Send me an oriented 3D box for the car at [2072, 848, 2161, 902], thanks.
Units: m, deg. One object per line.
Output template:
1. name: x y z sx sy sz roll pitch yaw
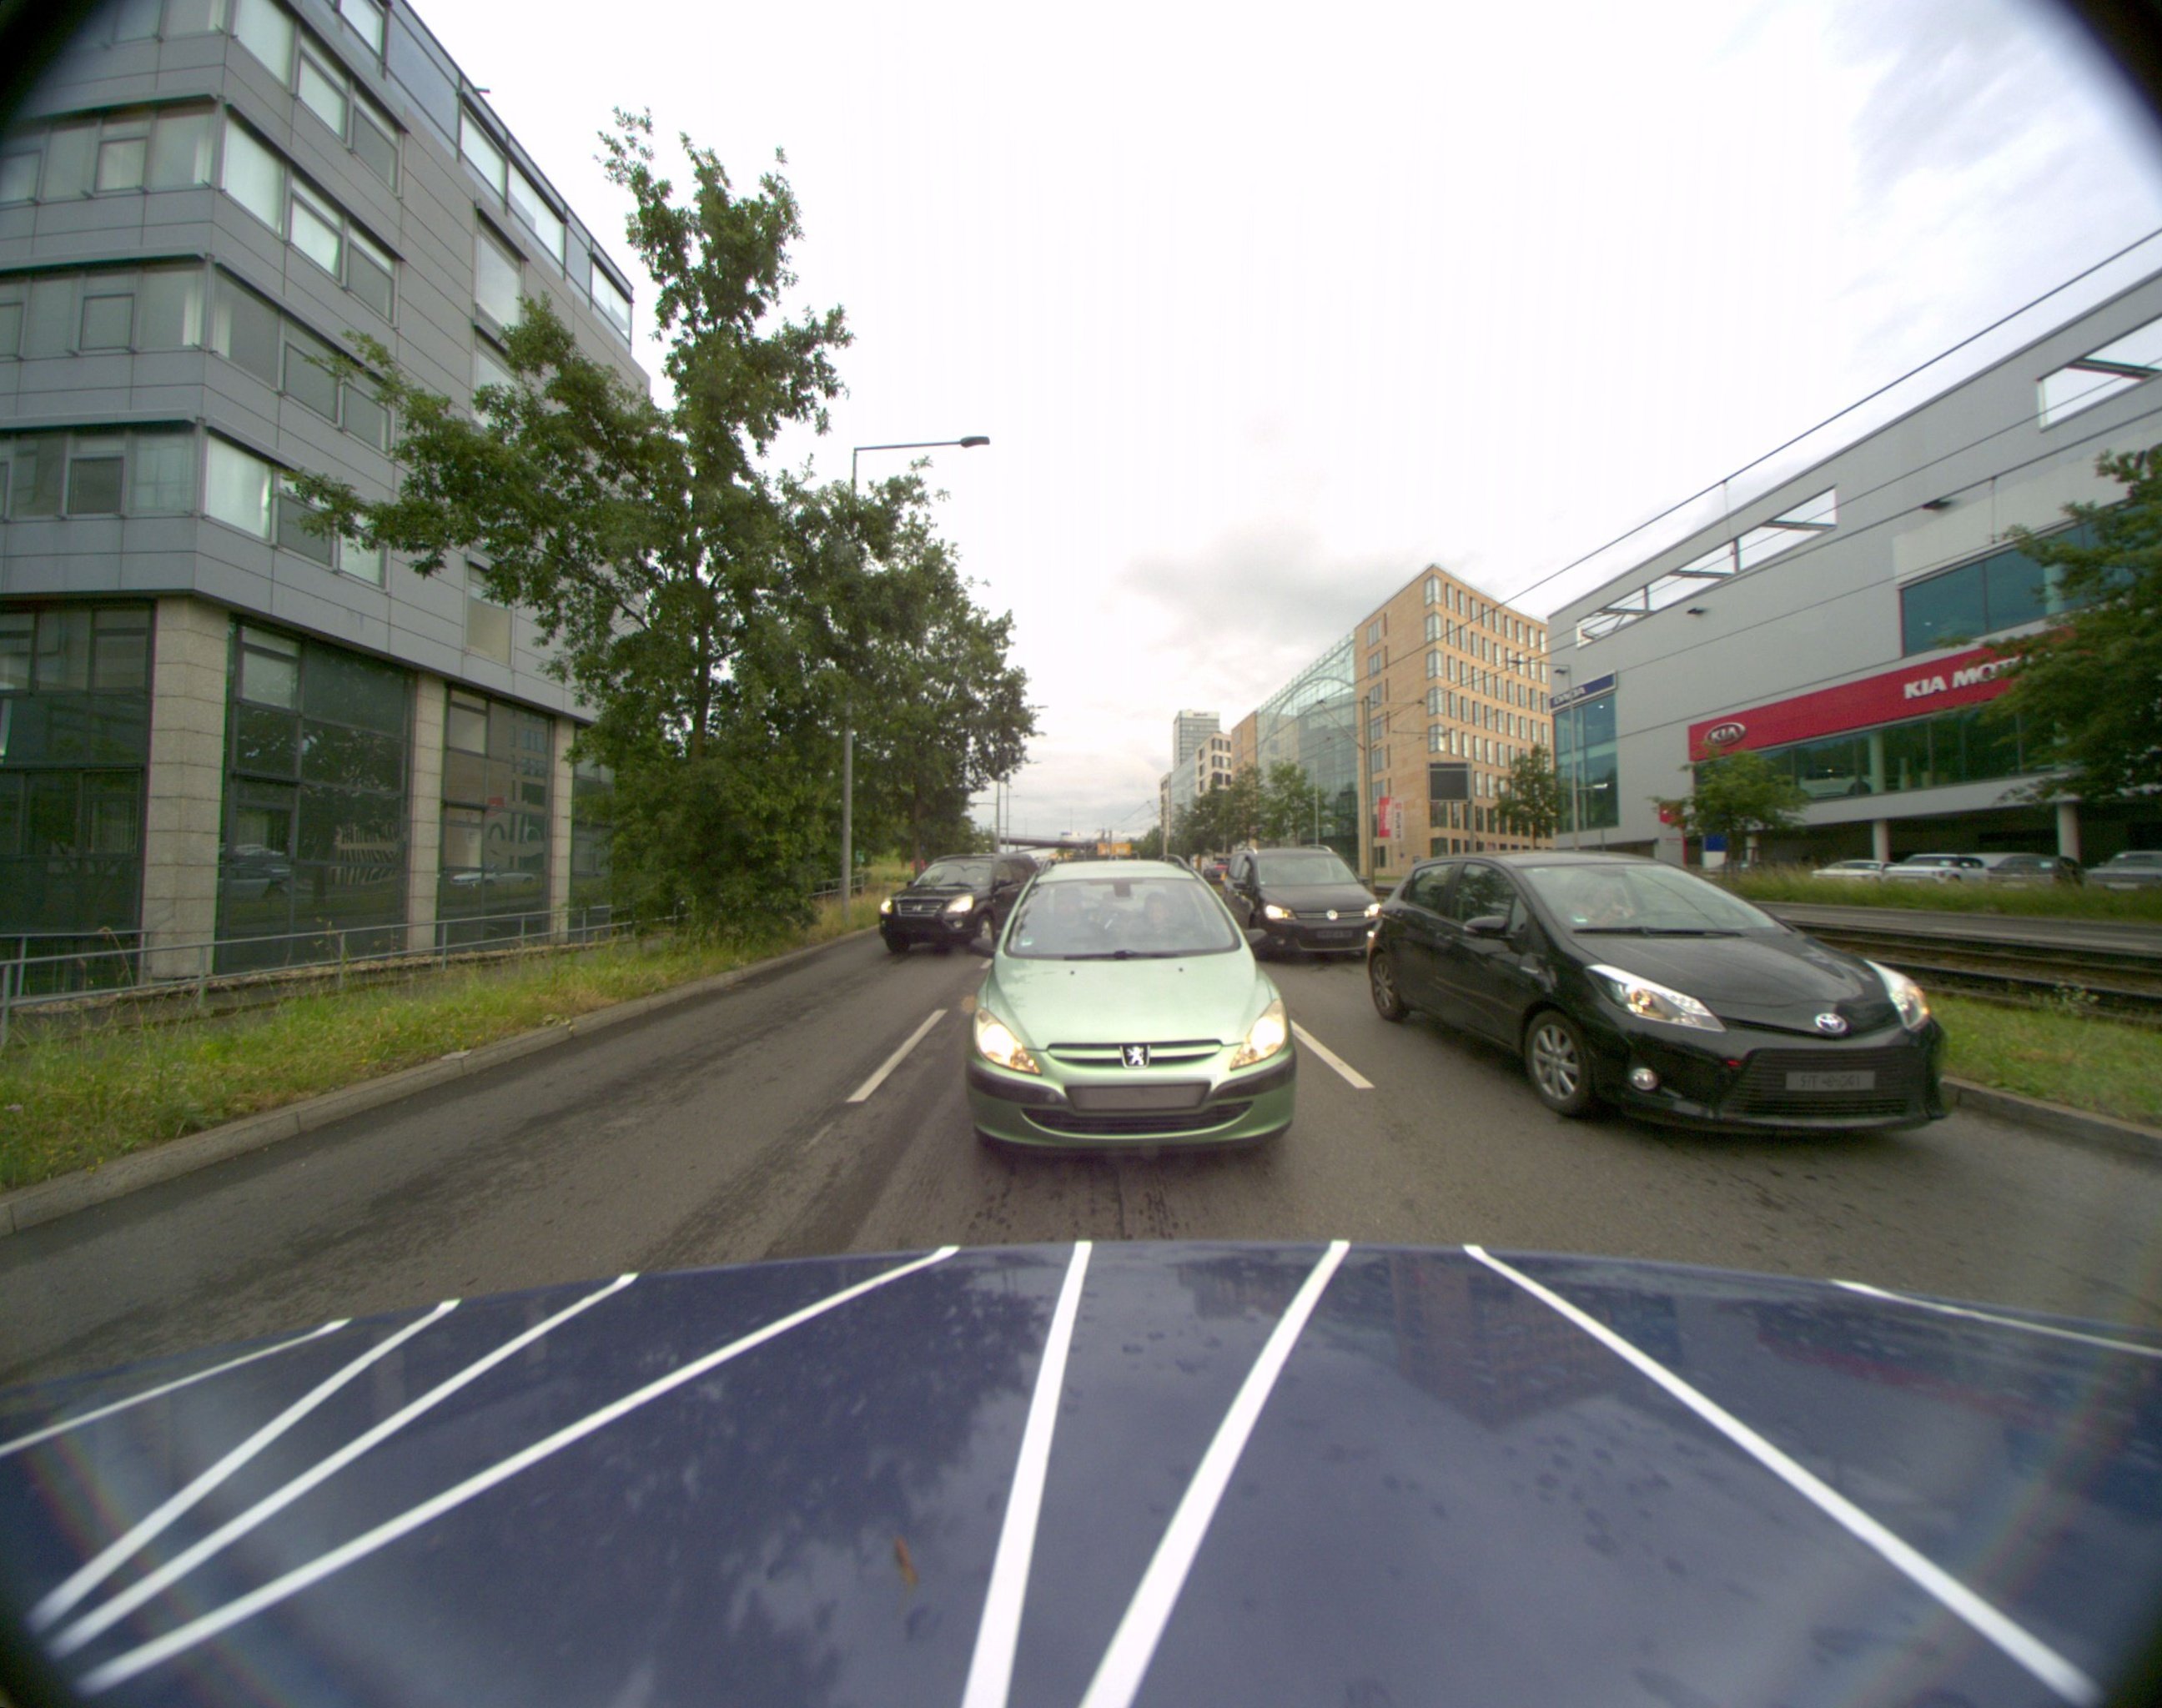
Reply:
1. car: 32.023 0.591 22.863 3.528 1.344 1.696 -4 1 -20

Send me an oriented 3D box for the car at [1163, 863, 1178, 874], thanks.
1. car: 13.379 2.115 114.000 1.589 1.504 4.100 1 0 -3

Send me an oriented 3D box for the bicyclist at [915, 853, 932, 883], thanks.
1. bicyclist: -8.439 0.762 40.652 0.647 1.569 0.855 -2 0 1

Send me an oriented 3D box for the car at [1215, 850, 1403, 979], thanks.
1. car: 3.313 0.778 11.939 1.786 1.597 4.318 -2 0 3

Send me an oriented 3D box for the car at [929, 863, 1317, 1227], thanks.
1. car: 0.175 0.881 5.583 1.704 1.523 4.370 -1 0 -1

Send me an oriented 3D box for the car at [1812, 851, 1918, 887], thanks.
1. car: 31.740 0.579 30.779 3.668 1.181 1.696 -4 1 -22

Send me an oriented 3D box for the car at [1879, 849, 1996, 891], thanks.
1. car: 31.763 0.563 28.174 3.668 1.287 1.696 -4 1 -22

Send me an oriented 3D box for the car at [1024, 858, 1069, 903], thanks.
1. car: -1.302 0.920 27.803 1.518 1.495 3.167 -1 0 -4

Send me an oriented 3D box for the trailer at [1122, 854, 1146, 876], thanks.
1. trailer: 10.853 2.219 157.523 3.143 4.304 13.277 2 0 -3

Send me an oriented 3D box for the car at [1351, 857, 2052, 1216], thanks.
1. car: 3.431 0.814 5.270 1.704 1.523 3.826 -1 0 -1

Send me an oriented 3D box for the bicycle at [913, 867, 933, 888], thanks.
1. bicycle: -8.444 1.246 40.658 0.582 1.082 1.906 -2 0 1

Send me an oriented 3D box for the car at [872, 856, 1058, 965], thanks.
1. car: -1.920 0.897 14.068 1.757 1.649 4.343 -1 0 15

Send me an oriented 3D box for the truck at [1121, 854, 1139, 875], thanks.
1. truck: 10.518 2.219 163.577 3.144 4.219 7.026 2 0 -3

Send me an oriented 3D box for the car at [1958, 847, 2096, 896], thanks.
1. car: 31.601 0.571 25.392 3.528 1.344 1.696 -4 1 -17

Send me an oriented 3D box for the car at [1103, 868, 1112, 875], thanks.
1. car: 6.261 4.069 180.622 1.655 1.428 3.877 -2 1 -6

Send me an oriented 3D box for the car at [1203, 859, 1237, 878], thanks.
1. car: 13.162 1.321 72.367 1.999 1.709 4.838 1 0 -5
